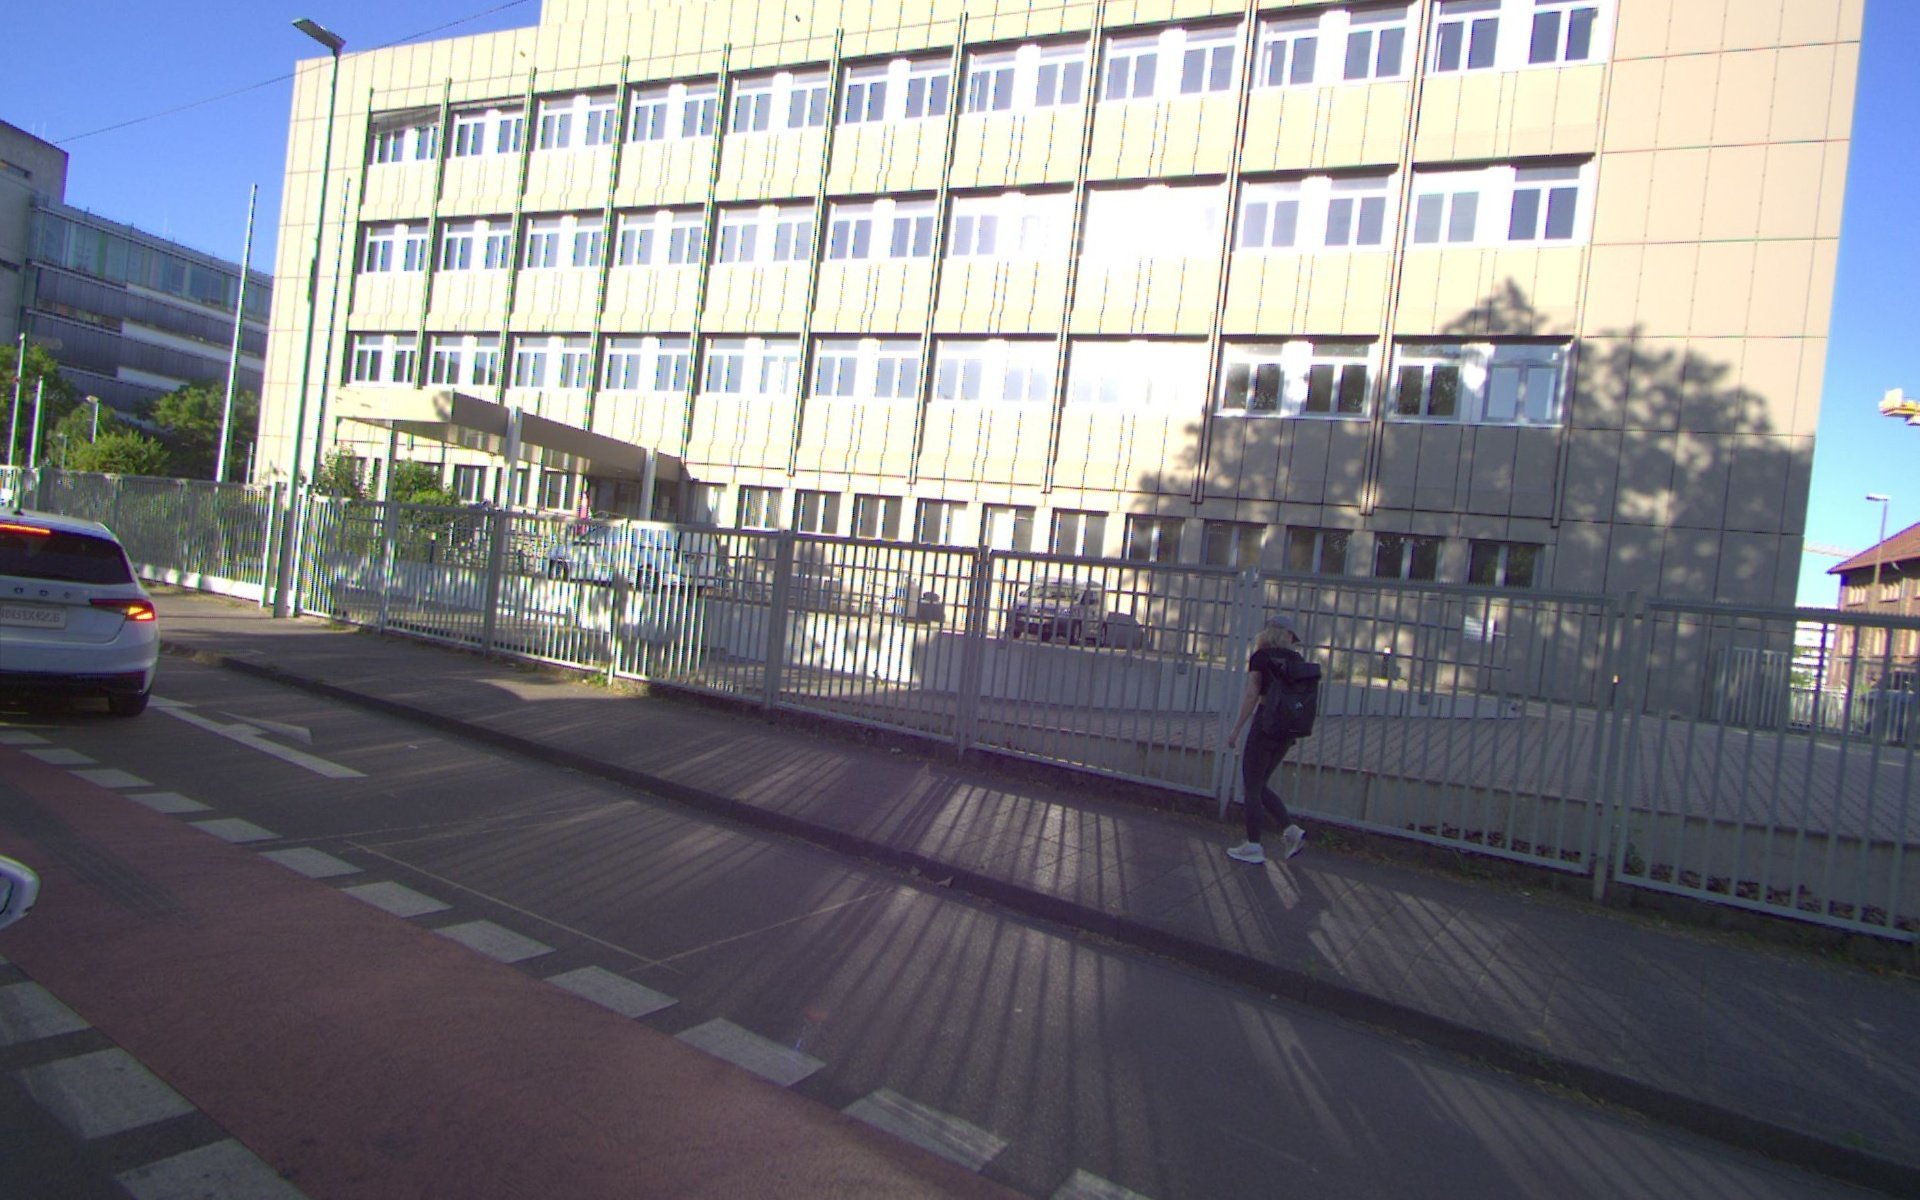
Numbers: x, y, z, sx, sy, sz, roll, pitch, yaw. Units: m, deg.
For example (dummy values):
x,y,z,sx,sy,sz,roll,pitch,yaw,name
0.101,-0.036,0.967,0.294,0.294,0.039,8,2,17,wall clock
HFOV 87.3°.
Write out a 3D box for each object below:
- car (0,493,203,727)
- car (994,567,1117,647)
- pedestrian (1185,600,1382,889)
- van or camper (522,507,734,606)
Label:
x,y,z,sx,sy,sz,roll,pitch,yaw,name
-7.634,-0.071,7.913,3.925,1.519,1.800,6,-1,41,car
2.618,0.248,26.530,1.957,1.739,4.264,7,0,22,car
2.163,0.917,6.725,0.916,1.705,0.696,7,1,35,pedestrian
-8.512,-1.105,25.767,4.908,1.933,1.986,7,1,22,van or camper
